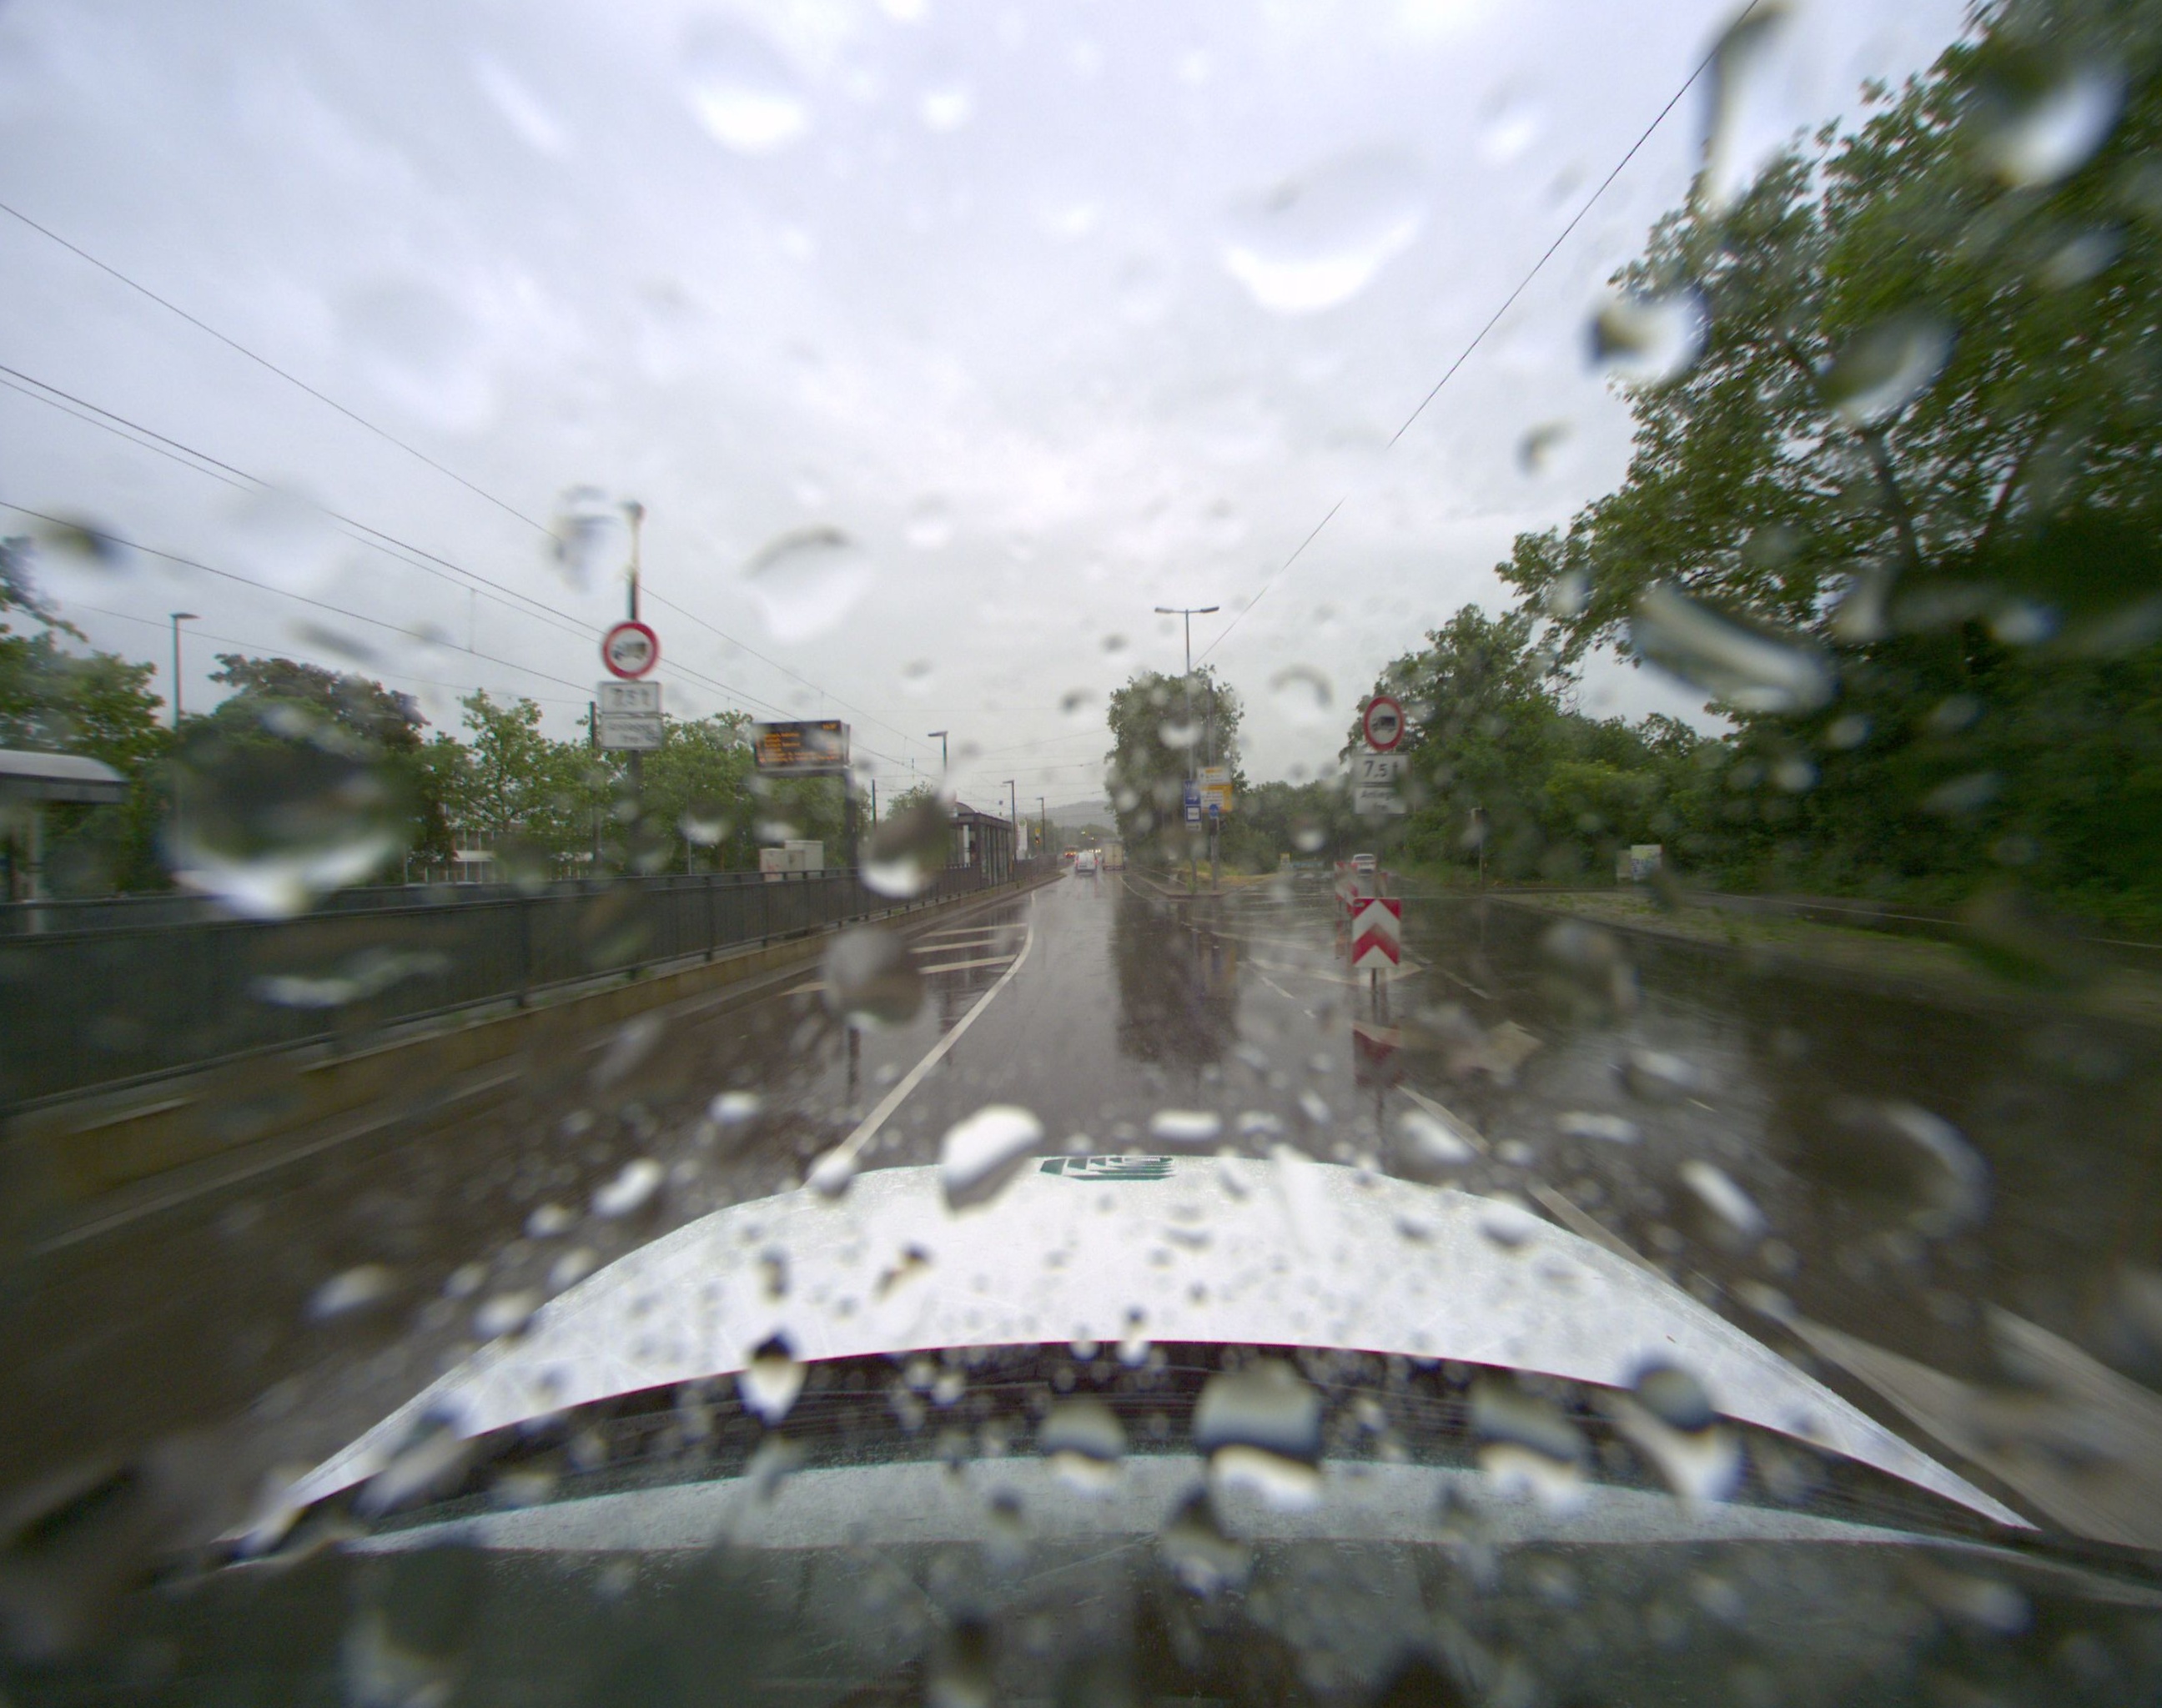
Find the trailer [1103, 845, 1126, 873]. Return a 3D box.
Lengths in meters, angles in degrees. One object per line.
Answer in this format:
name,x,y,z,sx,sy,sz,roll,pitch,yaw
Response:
trailer,3.507,0.545,85.059,2.156,2.757,5.682,-1,-1,4

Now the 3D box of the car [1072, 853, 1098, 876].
car,0.262,0.859,67.427,1.988,1.849,3.997,-1,0,-2

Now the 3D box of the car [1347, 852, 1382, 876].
car,18.361,0.610,52.665,1.871,1.431,4.022,-1,0,22

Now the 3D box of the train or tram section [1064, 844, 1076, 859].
train or tram section,-3.201,-0.805,235.757,2.796,4.150,13.025,-1,0,2

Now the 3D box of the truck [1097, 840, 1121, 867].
truck,3.981,0.024,116.229,2.768,3.704,9.845,-1,-1,-1
